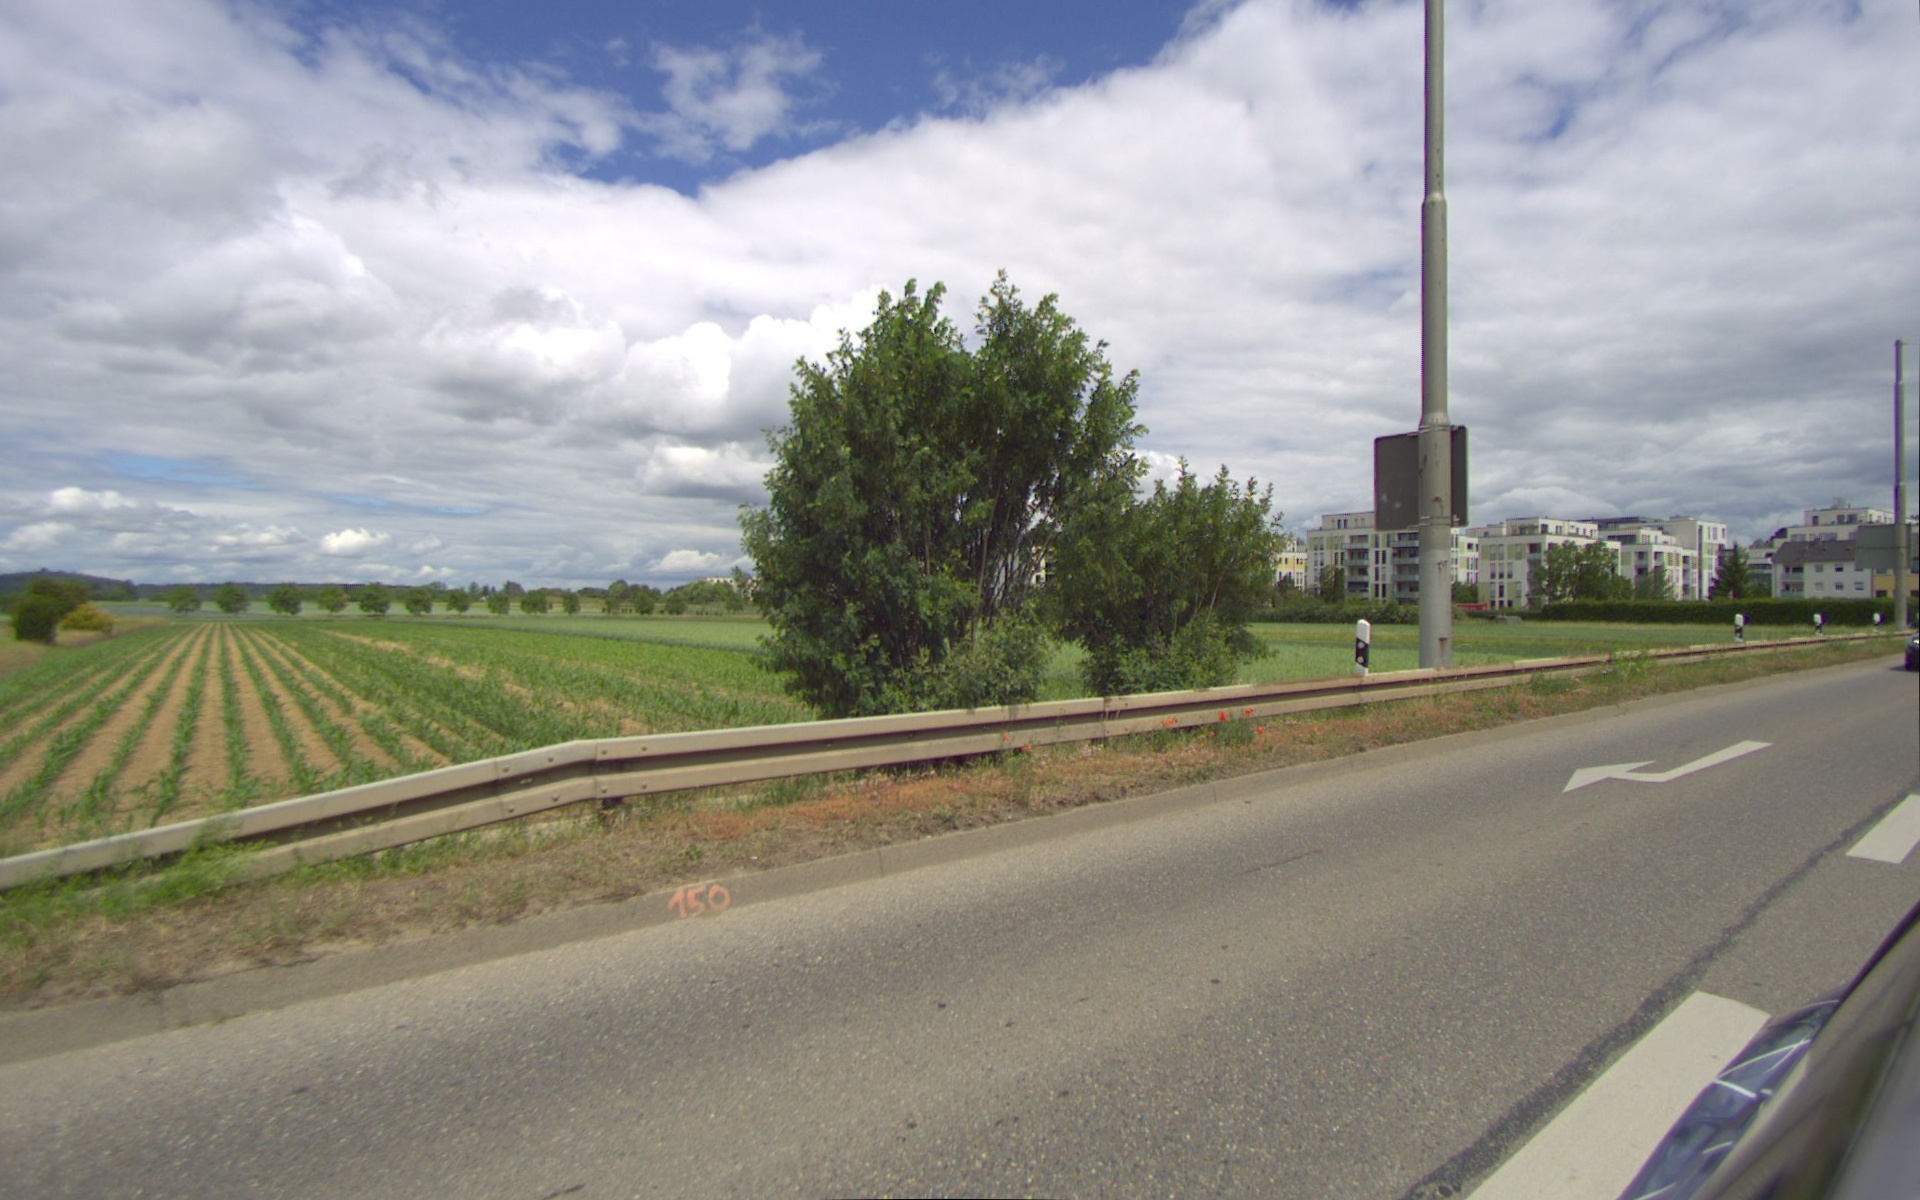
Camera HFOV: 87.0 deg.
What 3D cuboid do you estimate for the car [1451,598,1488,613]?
[{"bbox_3d":[72.723,0.745,144.474,1.964,2.039,4.435,0,1,-39],"label":"car"}]
